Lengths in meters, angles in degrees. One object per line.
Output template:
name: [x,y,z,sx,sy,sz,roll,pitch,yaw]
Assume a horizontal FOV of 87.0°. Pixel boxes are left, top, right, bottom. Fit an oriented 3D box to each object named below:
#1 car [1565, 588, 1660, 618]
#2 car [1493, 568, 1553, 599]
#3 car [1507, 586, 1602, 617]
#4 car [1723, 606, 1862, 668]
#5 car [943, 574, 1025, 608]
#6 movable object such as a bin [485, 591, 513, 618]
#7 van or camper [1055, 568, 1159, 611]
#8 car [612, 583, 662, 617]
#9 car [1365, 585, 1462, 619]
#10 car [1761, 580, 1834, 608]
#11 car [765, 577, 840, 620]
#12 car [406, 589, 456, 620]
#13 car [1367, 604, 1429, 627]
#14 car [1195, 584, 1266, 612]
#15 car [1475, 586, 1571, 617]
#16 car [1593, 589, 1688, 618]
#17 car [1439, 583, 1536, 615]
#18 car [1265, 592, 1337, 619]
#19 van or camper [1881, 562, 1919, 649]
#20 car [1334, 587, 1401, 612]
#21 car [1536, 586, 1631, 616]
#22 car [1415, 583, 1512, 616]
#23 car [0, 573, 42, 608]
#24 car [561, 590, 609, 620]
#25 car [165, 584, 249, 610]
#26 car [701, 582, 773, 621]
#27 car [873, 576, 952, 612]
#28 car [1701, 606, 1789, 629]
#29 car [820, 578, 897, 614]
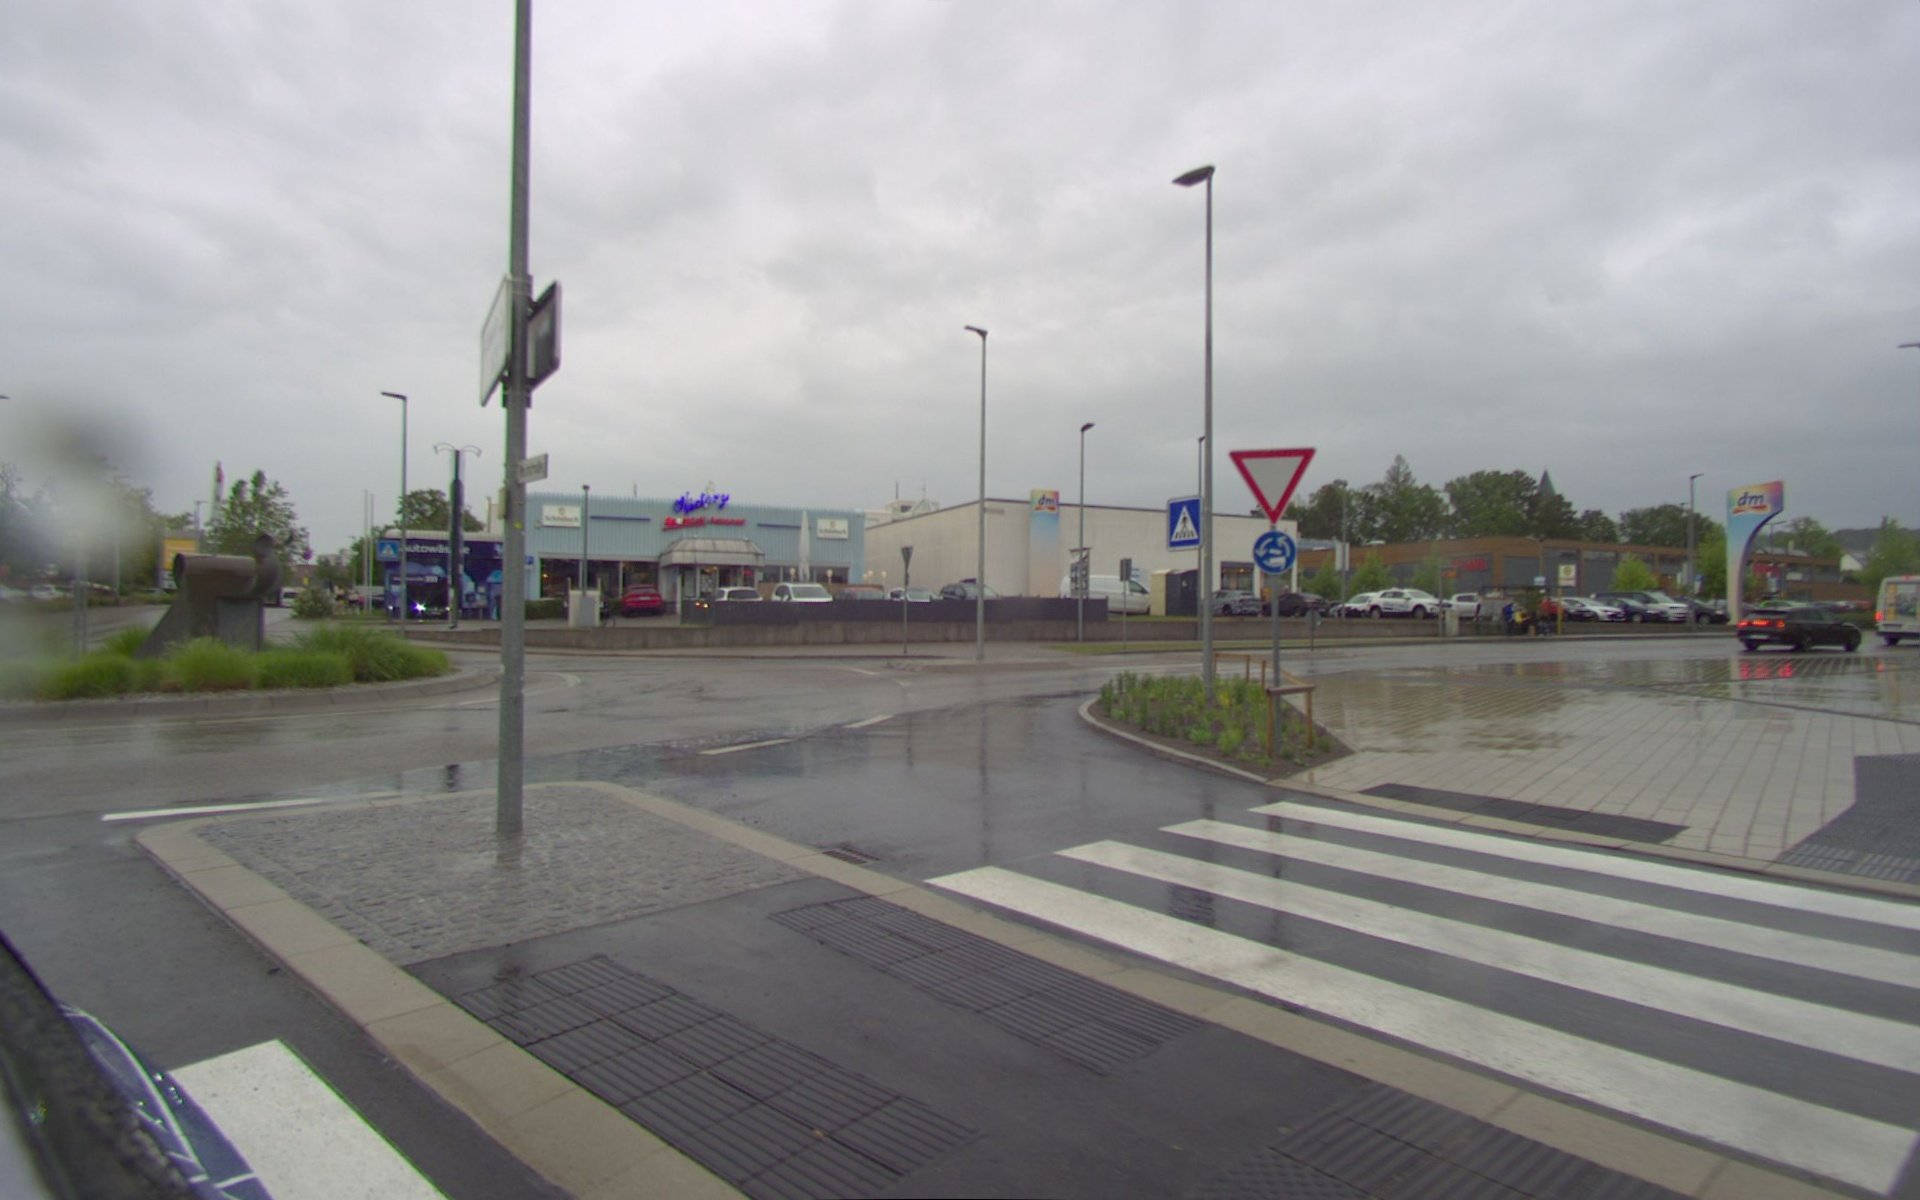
car: [35.748,0.197,55.558,1.763,1.564,4.013,0,-1,-27]
car: [40.317,-1.225,72.445,3.932,2.028,2.007,-3,3,-29]
car: [31.150,0.117,53.143,1.763,1.564,4.013,0,-1,-27]
car: [27.223,1.147,33.088,3.931,1.741,2.007,-3,1,-26]
car: [0.958,-0.357,42.057,1.855,1.305,4.013,-3,1,-23]
movable object such as a bin: [-23.079,0.221,50.716,1.194,1.305,1.483,-3,1,-23]
van or camper: [6.790,-0.467,46.732,4.306,1.774,1.894,-3,1,-23]
car: [-15.662,0.019,48.960,1.855,1.497,4.013,-3,1,-23]
car: [21.781,0.120,48.791,1.820,1.564,4.013,0,-1,-27]
car: [66.708,-0.478,80.631,1.965,2.028,4.014,-3,3,-25]
car: [-6.182,-0.023,39.359,1.763,1.564,4.013,0,-1,-27]
car: [-28.492,0.267,54.628,1.888,1.541,4.013,-2,0,-21]
car: [26.445,0.904,61.084,3.460,1.363,1.597,0,-1,-28]
car: [15.481,-0.088,58.177,1.763,1.564,4.013,0,-1,-25]
car: [28.955,0.089,52.202,1.763,1.564,4.013,0,-1,-27]
car: [38.011,0.223,56.621,1.763,1.564,4.013,0,-1,-27]
car: [26.461,-0.031,50.892,1.763,1.564,4.013,0,-1,-27]
car: [20.320,0.327,60.425,1.763,1.564,4.013,0,-1,-25]
van or camper: [36.583,0.139,37.371,5.013,3.111,2.006,-2,0,-26]
car: [25.981,-0.006,64.504,3.931,1.564,1.800,0,-1,-28]
car: [33.507,0.062,54.454,1.763,1.564,4.013,0,-1,-27]
car: [24.773,-0.011,49.885,1.763,1.564,4.013,0,-1,-27]
car: [-42.208,-0.408,43.284,3.930,1.453,2.006,0,-1,-23]
car: [-17.693,0.224,47.639,1.855,1.305,4.013,-3,1,-23]
car: [-48.465,-0.158,65.229,3.930,1.608,2.006,0,-1,-23]
car: [-8.376,0.066,37.725,1.855,1.305,4.013,-3,1,-23]
car: [-1.984,-0.226,40.904,1.855,1.305,4.013,-3,1,-23]
car: [50.145,1.126,64.714,1.966,1.408,4.011,0,0,-34]
car: [-4.061,-0.143,40.044,1.855,1.305,4.013,-3,1,-23]
